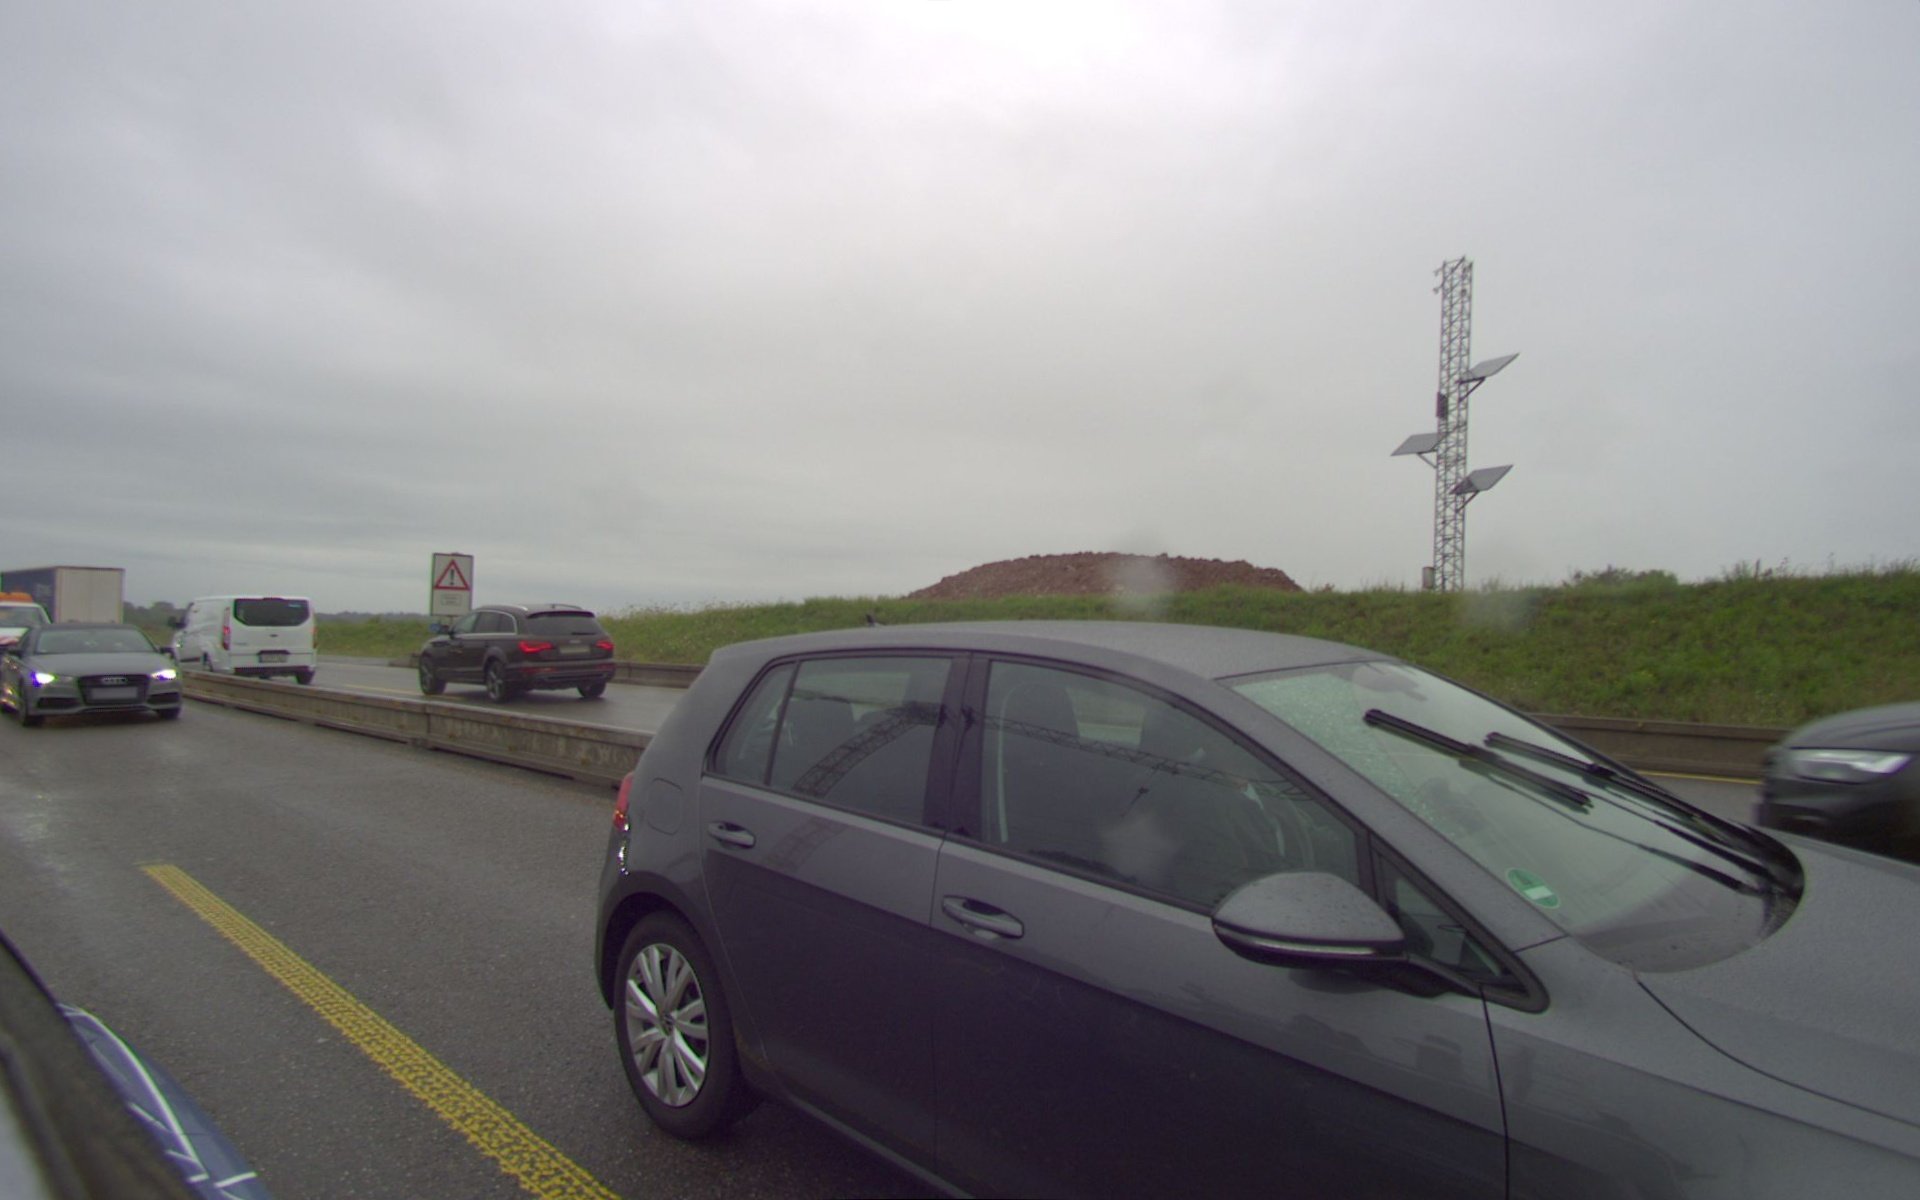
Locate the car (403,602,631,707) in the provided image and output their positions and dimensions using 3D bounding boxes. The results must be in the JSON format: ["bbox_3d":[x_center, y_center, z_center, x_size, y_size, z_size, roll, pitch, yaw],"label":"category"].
[{"bbox_3d":[-8.312,0.948,18.762,4.967,1.699,1.972,-2,-1,42],"label":"car"}]

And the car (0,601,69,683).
[{"bbox_3d":[-23.898,0.976,25.063,5.177,1.873,2.133,0,0,41],"label":"car"}]

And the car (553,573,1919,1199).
[{"bbox_3d":[0.824,0.695,2.351,4.079,1.433,1.632,0,-1,41],"label":"car"}]

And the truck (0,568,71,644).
[{"bbox_3d":[-52.124,0.395,56.507,5.811,4.065,2.762,-2,-1,38],"label":"truck"}]

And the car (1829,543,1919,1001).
[{"bbox_3d":[5.538,0.575,2.952,4.484,1.651,1.802,-2,-1,43],"label":"car"}]

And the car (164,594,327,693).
[{"bbox_3d":[-16.361,0.947,23.077,4.967,2.015,1.972,-2,-1,42],"label":"car"}]

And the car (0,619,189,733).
[{"bbox_3d":[-13.214,1.022,15.232,4.267,1.407,1.776,0,0,41],"label":"car"}]

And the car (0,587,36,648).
[{"bbox_3d":[-43.577,0.805,45.702,7.018,2.597,2.032,-2,-1,42],"label":"car"}]

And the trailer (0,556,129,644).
[{"bbox_3d":[-46.298,0.195,51.962,13.721,4.065,2.753,-2,-1,38],"label":"trailer"}]
